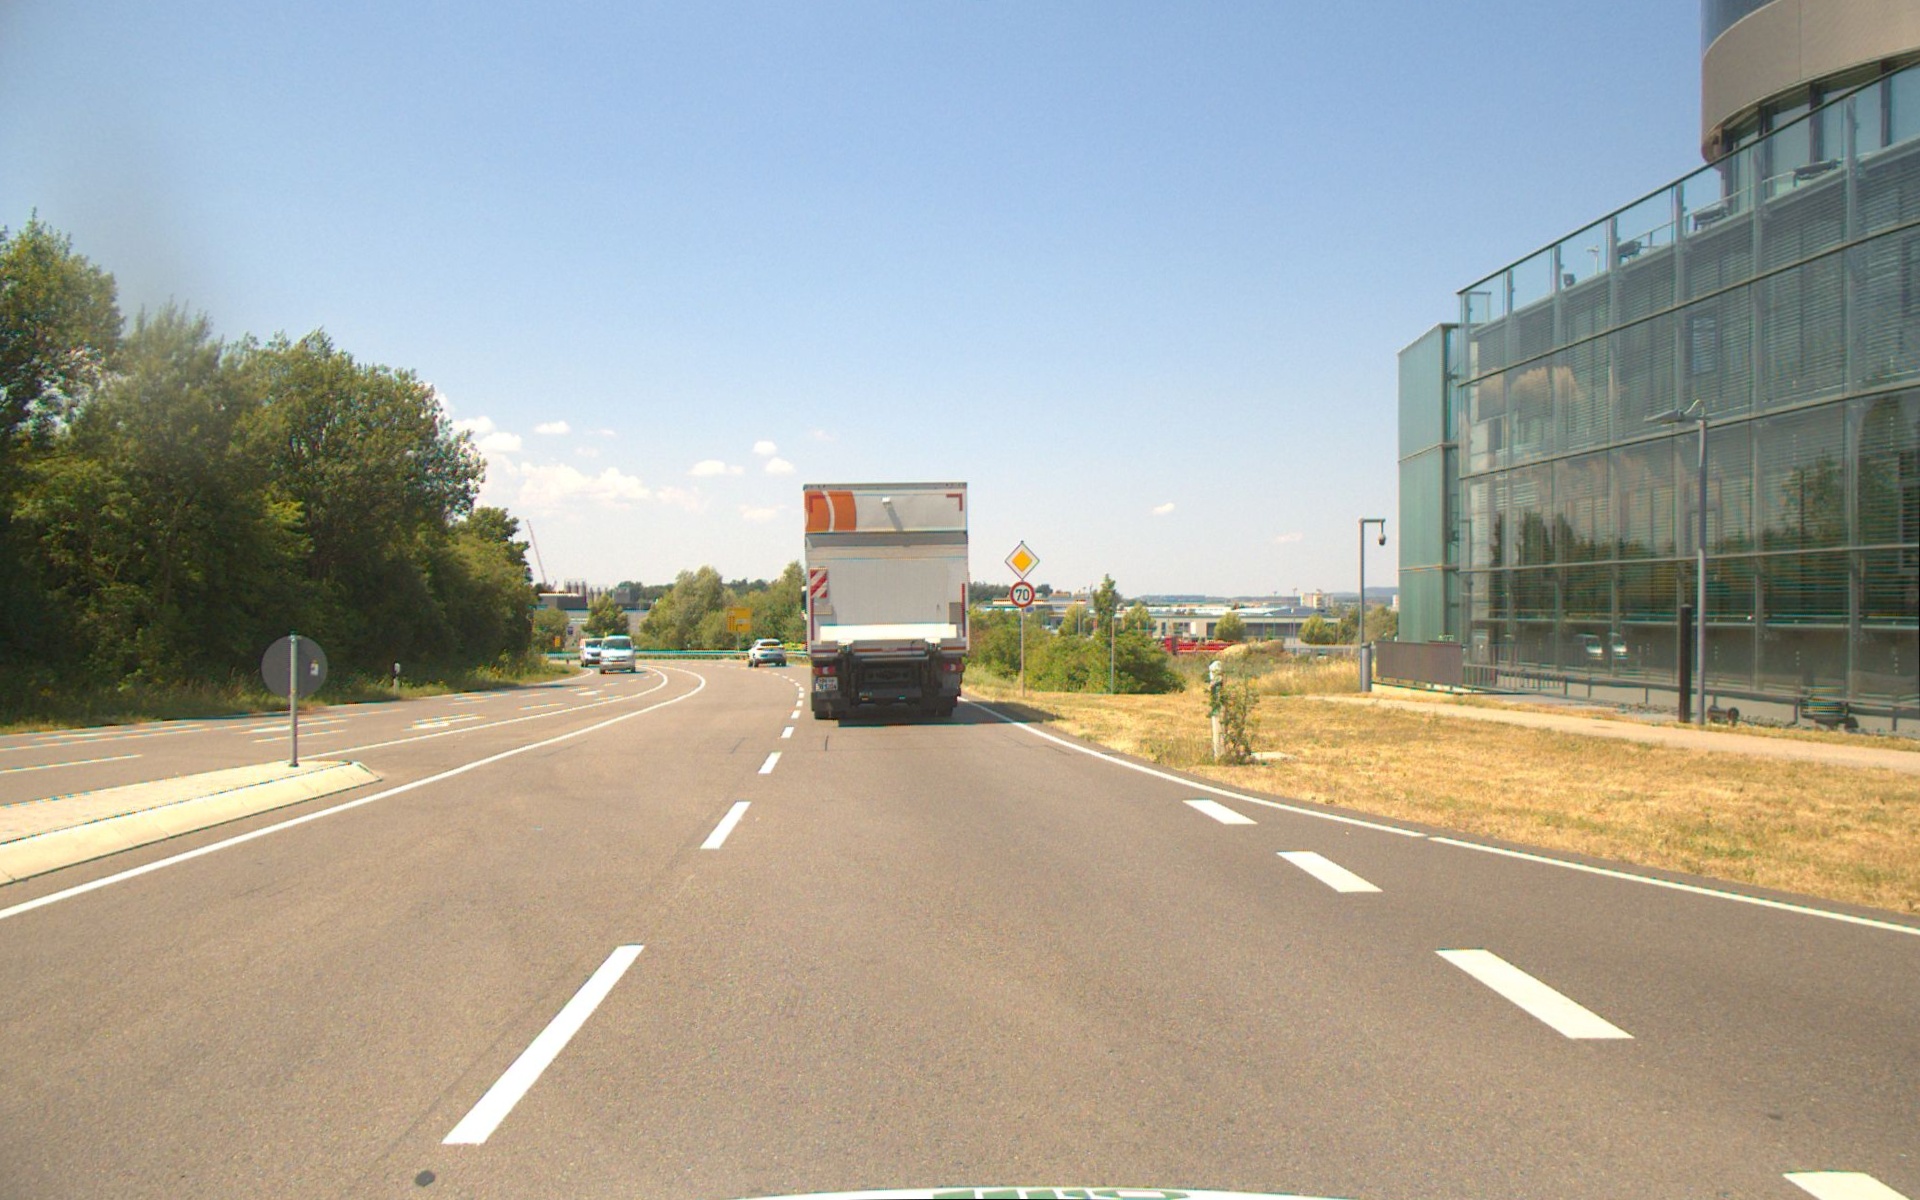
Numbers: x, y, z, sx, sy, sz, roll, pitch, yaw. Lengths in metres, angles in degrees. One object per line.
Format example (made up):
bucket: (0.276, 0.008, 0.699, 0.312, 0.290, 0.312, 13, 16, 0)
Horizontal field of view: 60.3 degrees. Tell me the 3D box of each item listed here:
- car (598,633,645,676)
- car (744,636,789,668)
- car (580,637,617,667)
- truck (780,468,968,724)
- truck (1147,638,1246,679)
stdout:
car: (-17.738, 2.830, 86.780, 1.936, 2.049, 4.833, 1, 0, -6)
car: (-10.869, 2.954, 92.684, 1.912, 1.694, 3.981, 1, -3, -16)
car: (-25.699, 3.678, 117.399, 2.043, 2.049, 5.778, 0, -1, -17)
truck: (-1.351, 0.024, 29.281, 2.746, 3.776, 9.105, -1, -1, -1)
truck: (23.383, 5.738, 163.604, 9.199, 3.749, 3.130, 1, 0, 24)
